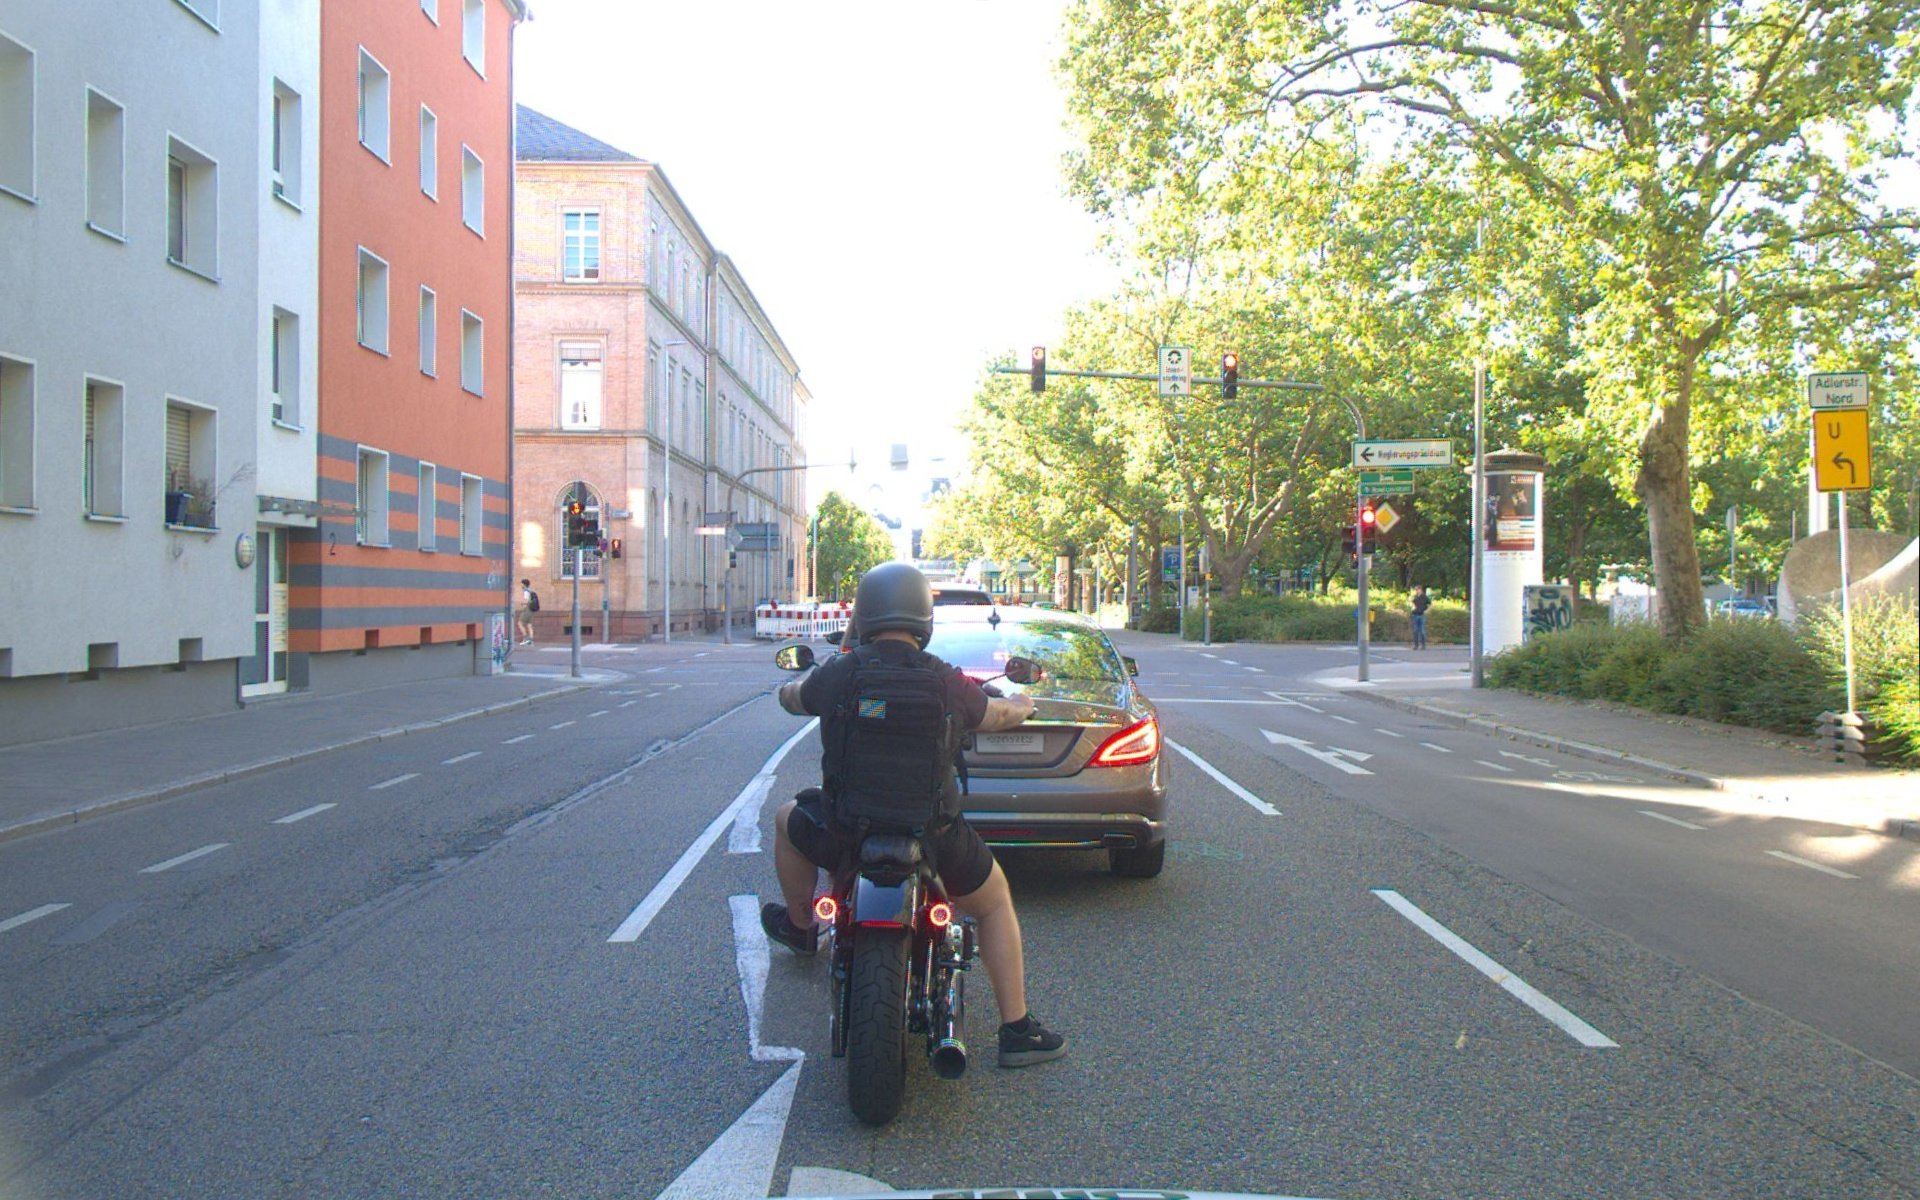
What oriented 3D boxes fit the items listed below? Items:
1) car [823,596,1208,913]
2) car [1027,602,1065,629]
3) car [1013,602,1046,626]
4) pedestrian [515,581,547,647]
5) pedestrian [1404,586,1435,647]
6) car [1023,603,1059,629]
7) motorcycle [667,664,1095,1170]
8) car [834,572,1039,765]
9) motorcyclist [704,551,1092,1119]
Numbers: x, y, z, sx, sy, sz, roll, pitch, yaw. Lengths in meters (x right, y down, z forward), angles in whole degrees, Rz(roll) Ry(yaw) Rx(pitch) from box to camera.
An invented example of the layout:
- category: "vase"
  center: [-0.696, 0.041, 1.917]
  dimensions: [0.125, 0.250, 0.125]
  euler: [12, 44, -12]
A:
- category: "car"
  center: [0.236, 0.735, 9.662]
  dimensions: [1.785, 1.462, 3.805]
  euler: [1, 0, -1]
- category: "car"
  center: [4.162, 0.759, 80.693]
  dimensions: [1.598, 1.281, 3.715]
  euler: [1, 0, -1]
- category: "car"
  center: [3.801, 0.753, 91.506]
  dimensions: [1.598, 1.281, 3.715]
  euler: [1, 0, -1]
- category: "pedestrian"
  center: [-12.096, 0.394, 46.624]
  dimensions: [0.723, 1.852, 0.643]
  euler: [1, -1, -1]
- category: "pedestrian"
  center: [13.781, 0.486, 49.579]
  dimensions: [0.722, 1.809, 0.728]
  euler: [1, -1, 29]
- category: "car"
  center: [4.173, 0.825, 85.169]
  dimensions: [1.598, 1.281, 3.715]
  euler: [1, 0, -1]
- category: "motorcycle"
  center: [-0.126, 0.876, 5.490]
  dimensions: [1.094, 1.228, 2.213]
  euler: [1, 0, 5]
- category: "car"
  center: [-0.237, 0.626, 16.934]
  dimensions: [1.825, 1.707, 3.999]
  euler: [1, 0, -1]
- category: "motorcyclist"
  center: [-0.139, 0.665, 5.269]
  dimensions: [1.076, 1.593, 1.072]
  euler: [1, 0, 5]
